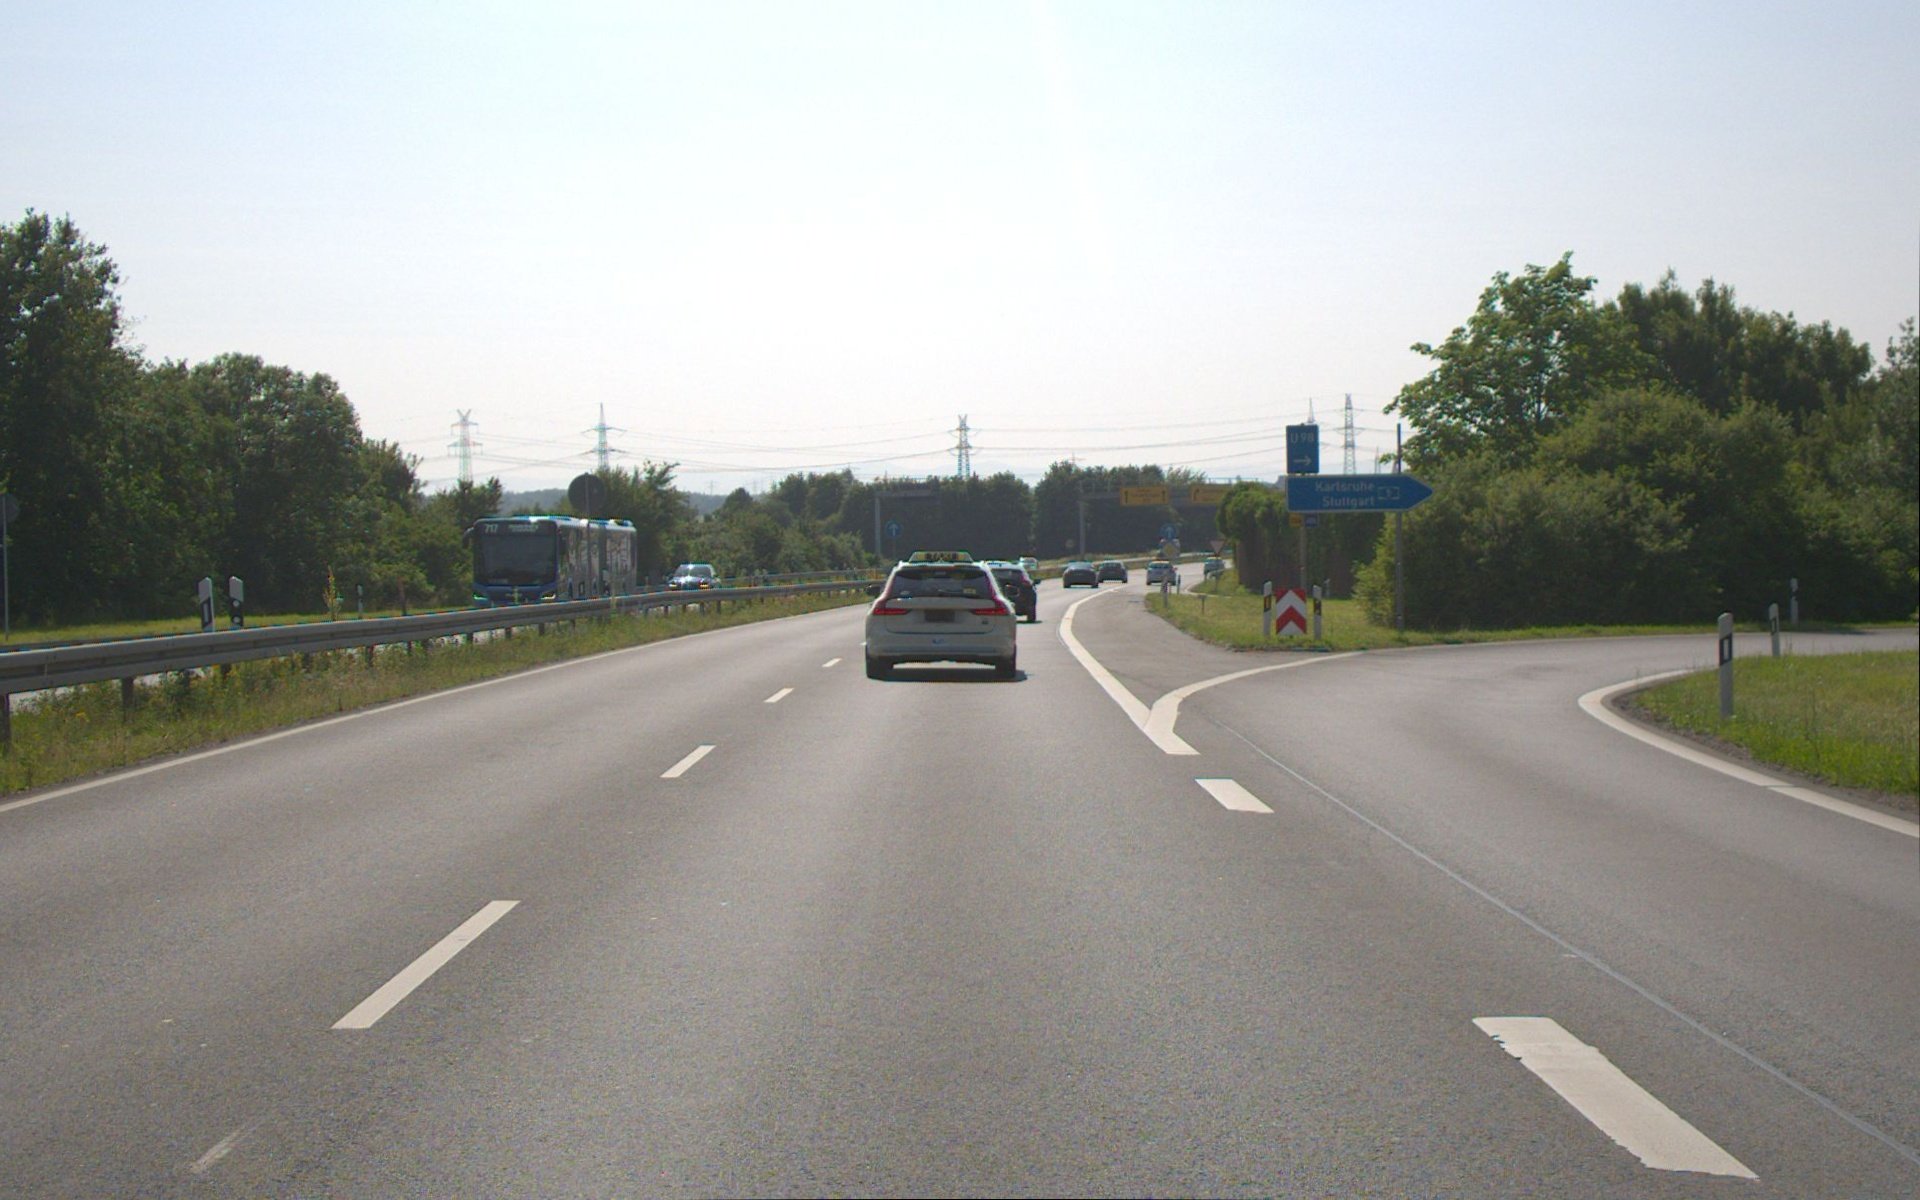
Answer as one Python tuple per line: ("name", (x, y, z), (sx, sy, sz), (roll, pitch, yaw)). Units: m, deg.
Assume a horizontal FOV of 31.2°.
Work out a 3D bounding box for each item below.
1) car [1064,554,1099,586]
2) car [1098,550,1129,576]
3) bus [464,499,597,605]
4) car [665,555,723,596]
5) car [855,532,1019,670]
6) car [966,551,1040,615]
("car", (6.854, -1.719, 194.227), (1.841, 1.796, 4.000), (0, 1, 4))
("car", (10.064, -2.430, 225.625), (1.841, 1.692, 4.000), (0, 1, 0))
("bus", (-13.181, -1.513, 106.264), (2.725, 3.099, 9.835), (-1, 1, 1))
("car", (-11.201, -1.035, 144.959), (1.993, 1.600, 4.274), (1, 2, 2))
("car", (-0.260, -0.027, 43.580), (1.958, 1.596, 4.107), (1, 2, 0))
("car", (1.051, -0.429, 85.357), (1.793, 1.538, 3.672), (0, 1, 0))
